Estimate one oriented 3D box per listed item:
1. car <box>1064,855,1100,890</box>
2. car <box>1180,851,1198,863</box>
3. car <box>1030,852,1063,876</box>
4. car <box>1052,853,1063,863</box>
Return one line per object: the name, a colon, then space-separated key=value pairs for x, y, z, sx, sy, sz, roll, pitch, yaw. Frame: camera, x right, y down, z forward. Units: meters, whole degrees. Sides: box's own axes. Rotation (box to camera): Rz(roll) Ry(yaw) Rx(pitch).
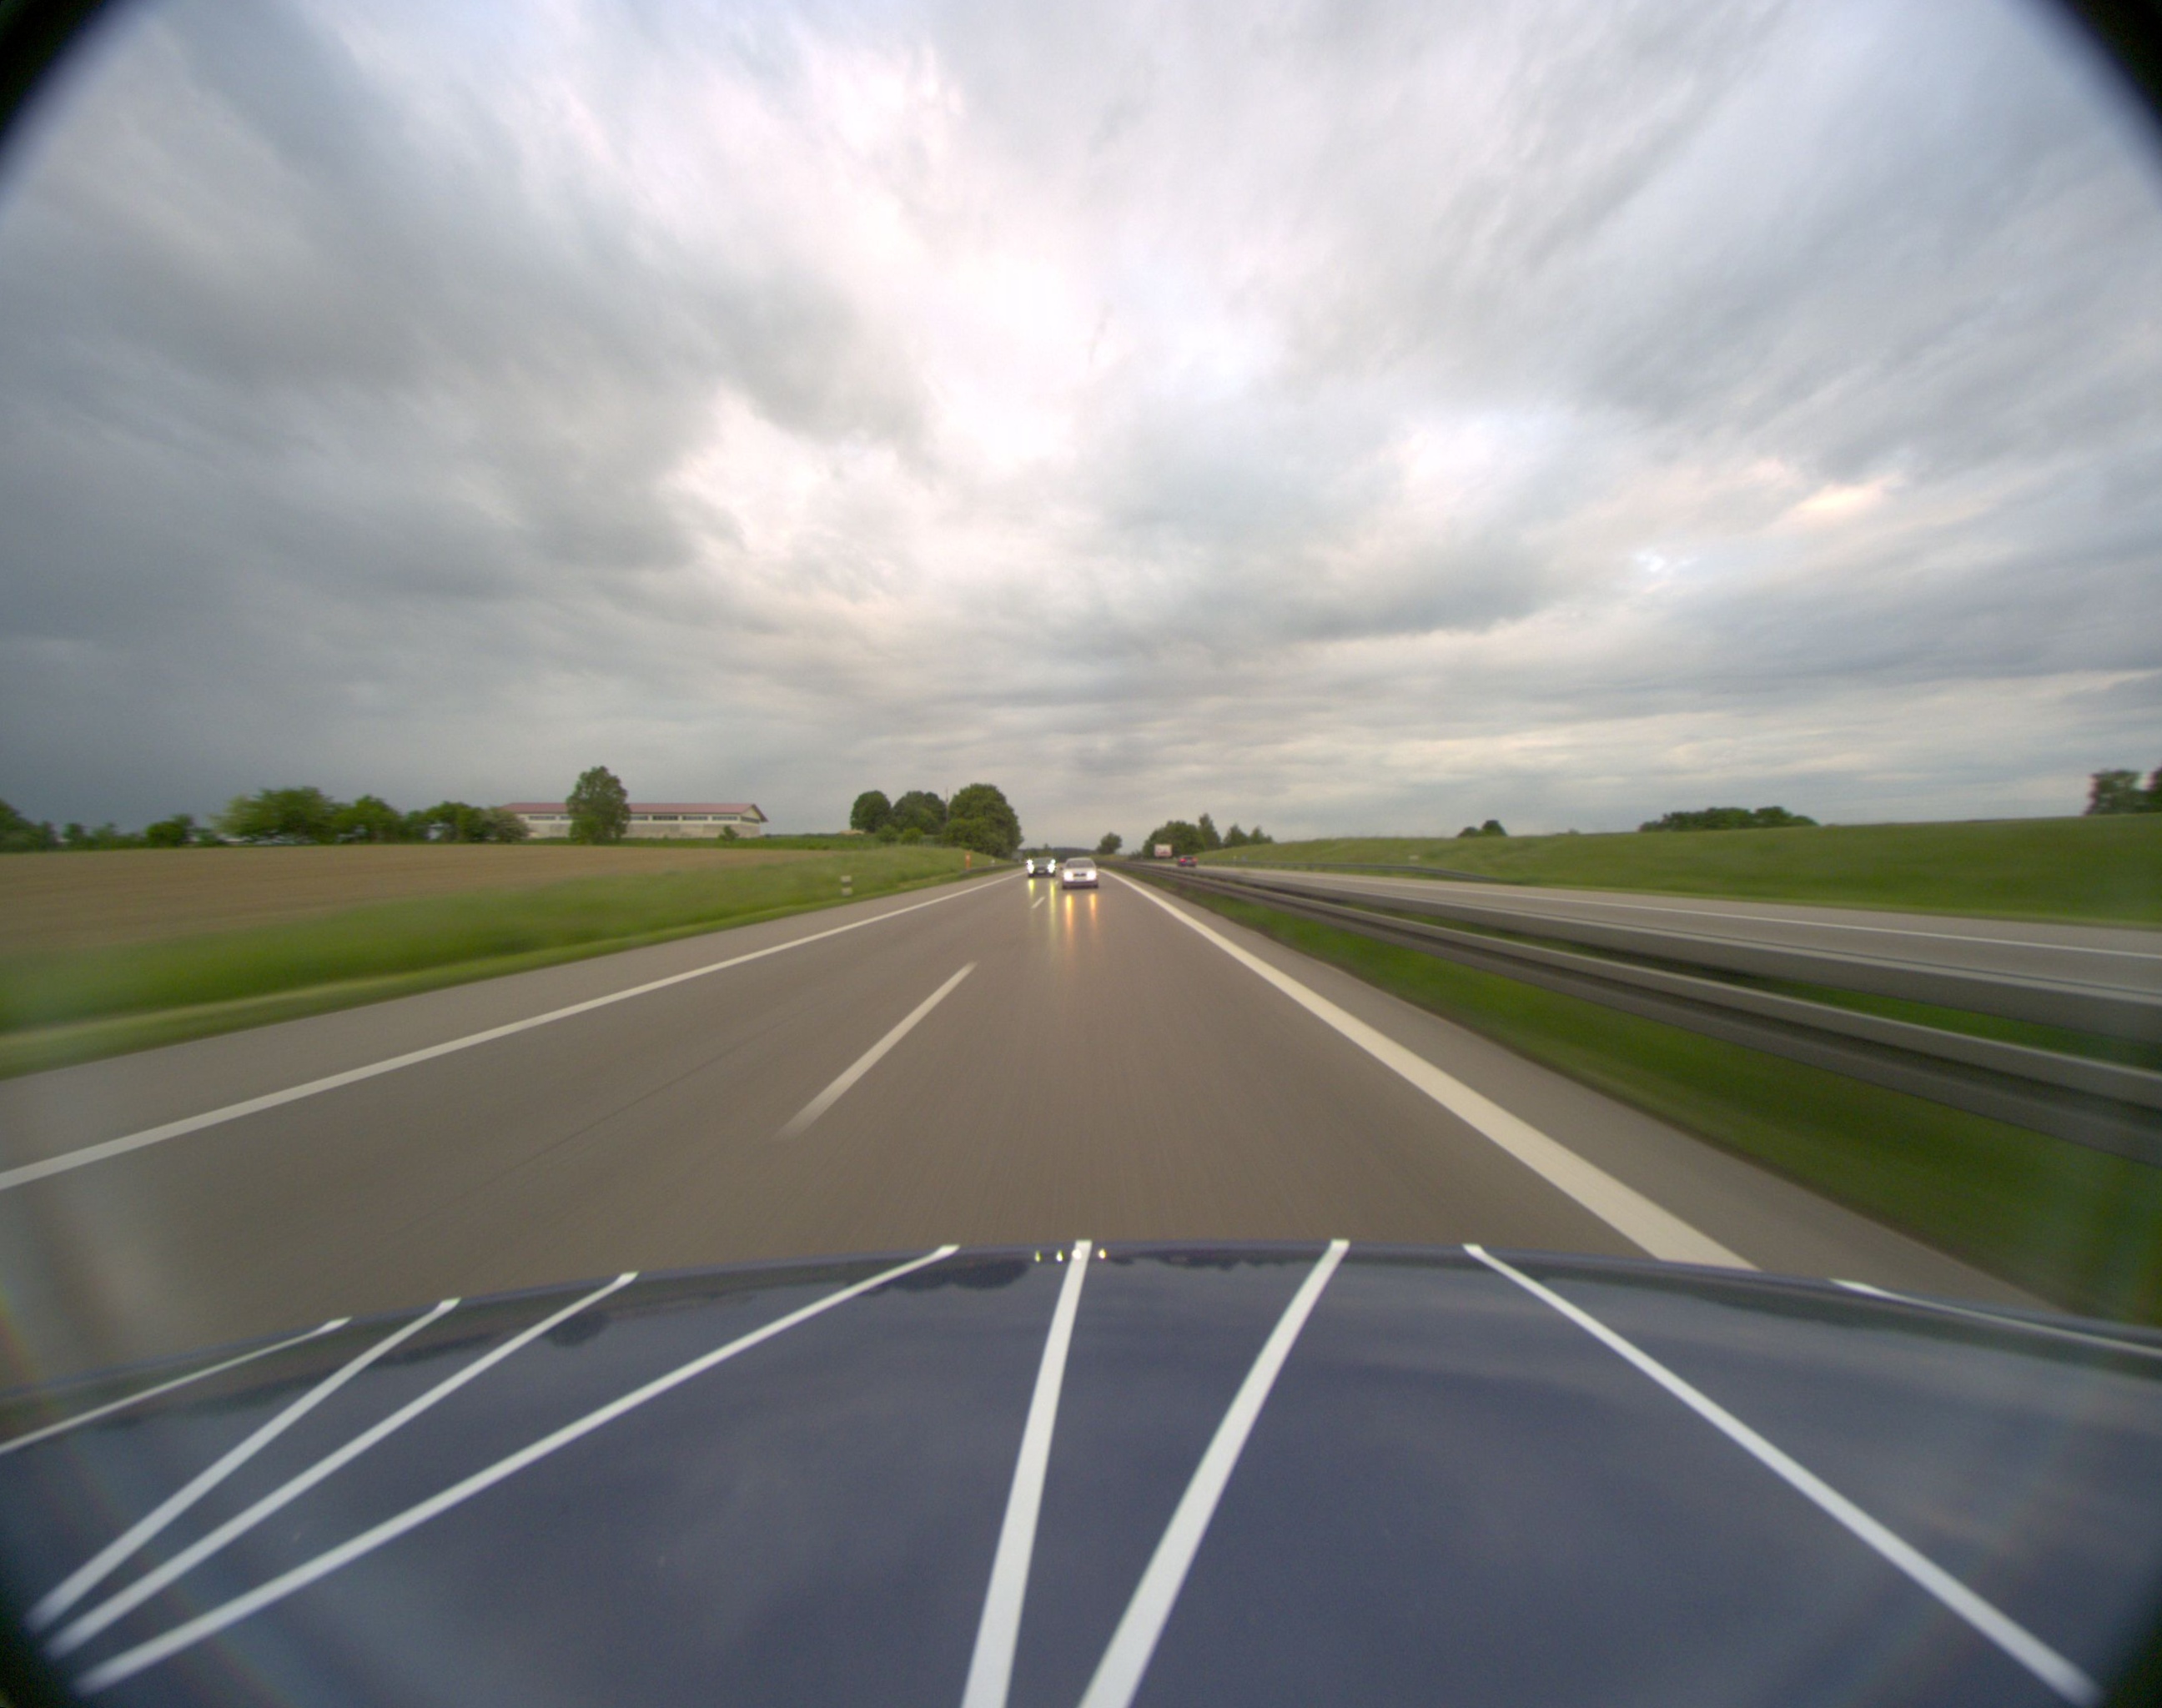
car: x=0.070 y=0.817 z=35.709 sx=1.592 sy=1.381 sz=4.600 roll=0 pitch=2 yaw=1
car: x=13.256 y=0.336 z=93.229 sx=1.553 sy=1.363 sz=3.798 roll=-2 pitch=1 yaw=0
car: x=-2.554 y=0.736 z=57.281 sx=1.951 sy=1.620 sz=4.536 roll=-1 pitch=1 yaw=3
car: x=-4.249 y=0.694 z=135.710 sx=1.807 sy=1.619 sz=3.903 roll=-1 pitch=1 yaw=0
